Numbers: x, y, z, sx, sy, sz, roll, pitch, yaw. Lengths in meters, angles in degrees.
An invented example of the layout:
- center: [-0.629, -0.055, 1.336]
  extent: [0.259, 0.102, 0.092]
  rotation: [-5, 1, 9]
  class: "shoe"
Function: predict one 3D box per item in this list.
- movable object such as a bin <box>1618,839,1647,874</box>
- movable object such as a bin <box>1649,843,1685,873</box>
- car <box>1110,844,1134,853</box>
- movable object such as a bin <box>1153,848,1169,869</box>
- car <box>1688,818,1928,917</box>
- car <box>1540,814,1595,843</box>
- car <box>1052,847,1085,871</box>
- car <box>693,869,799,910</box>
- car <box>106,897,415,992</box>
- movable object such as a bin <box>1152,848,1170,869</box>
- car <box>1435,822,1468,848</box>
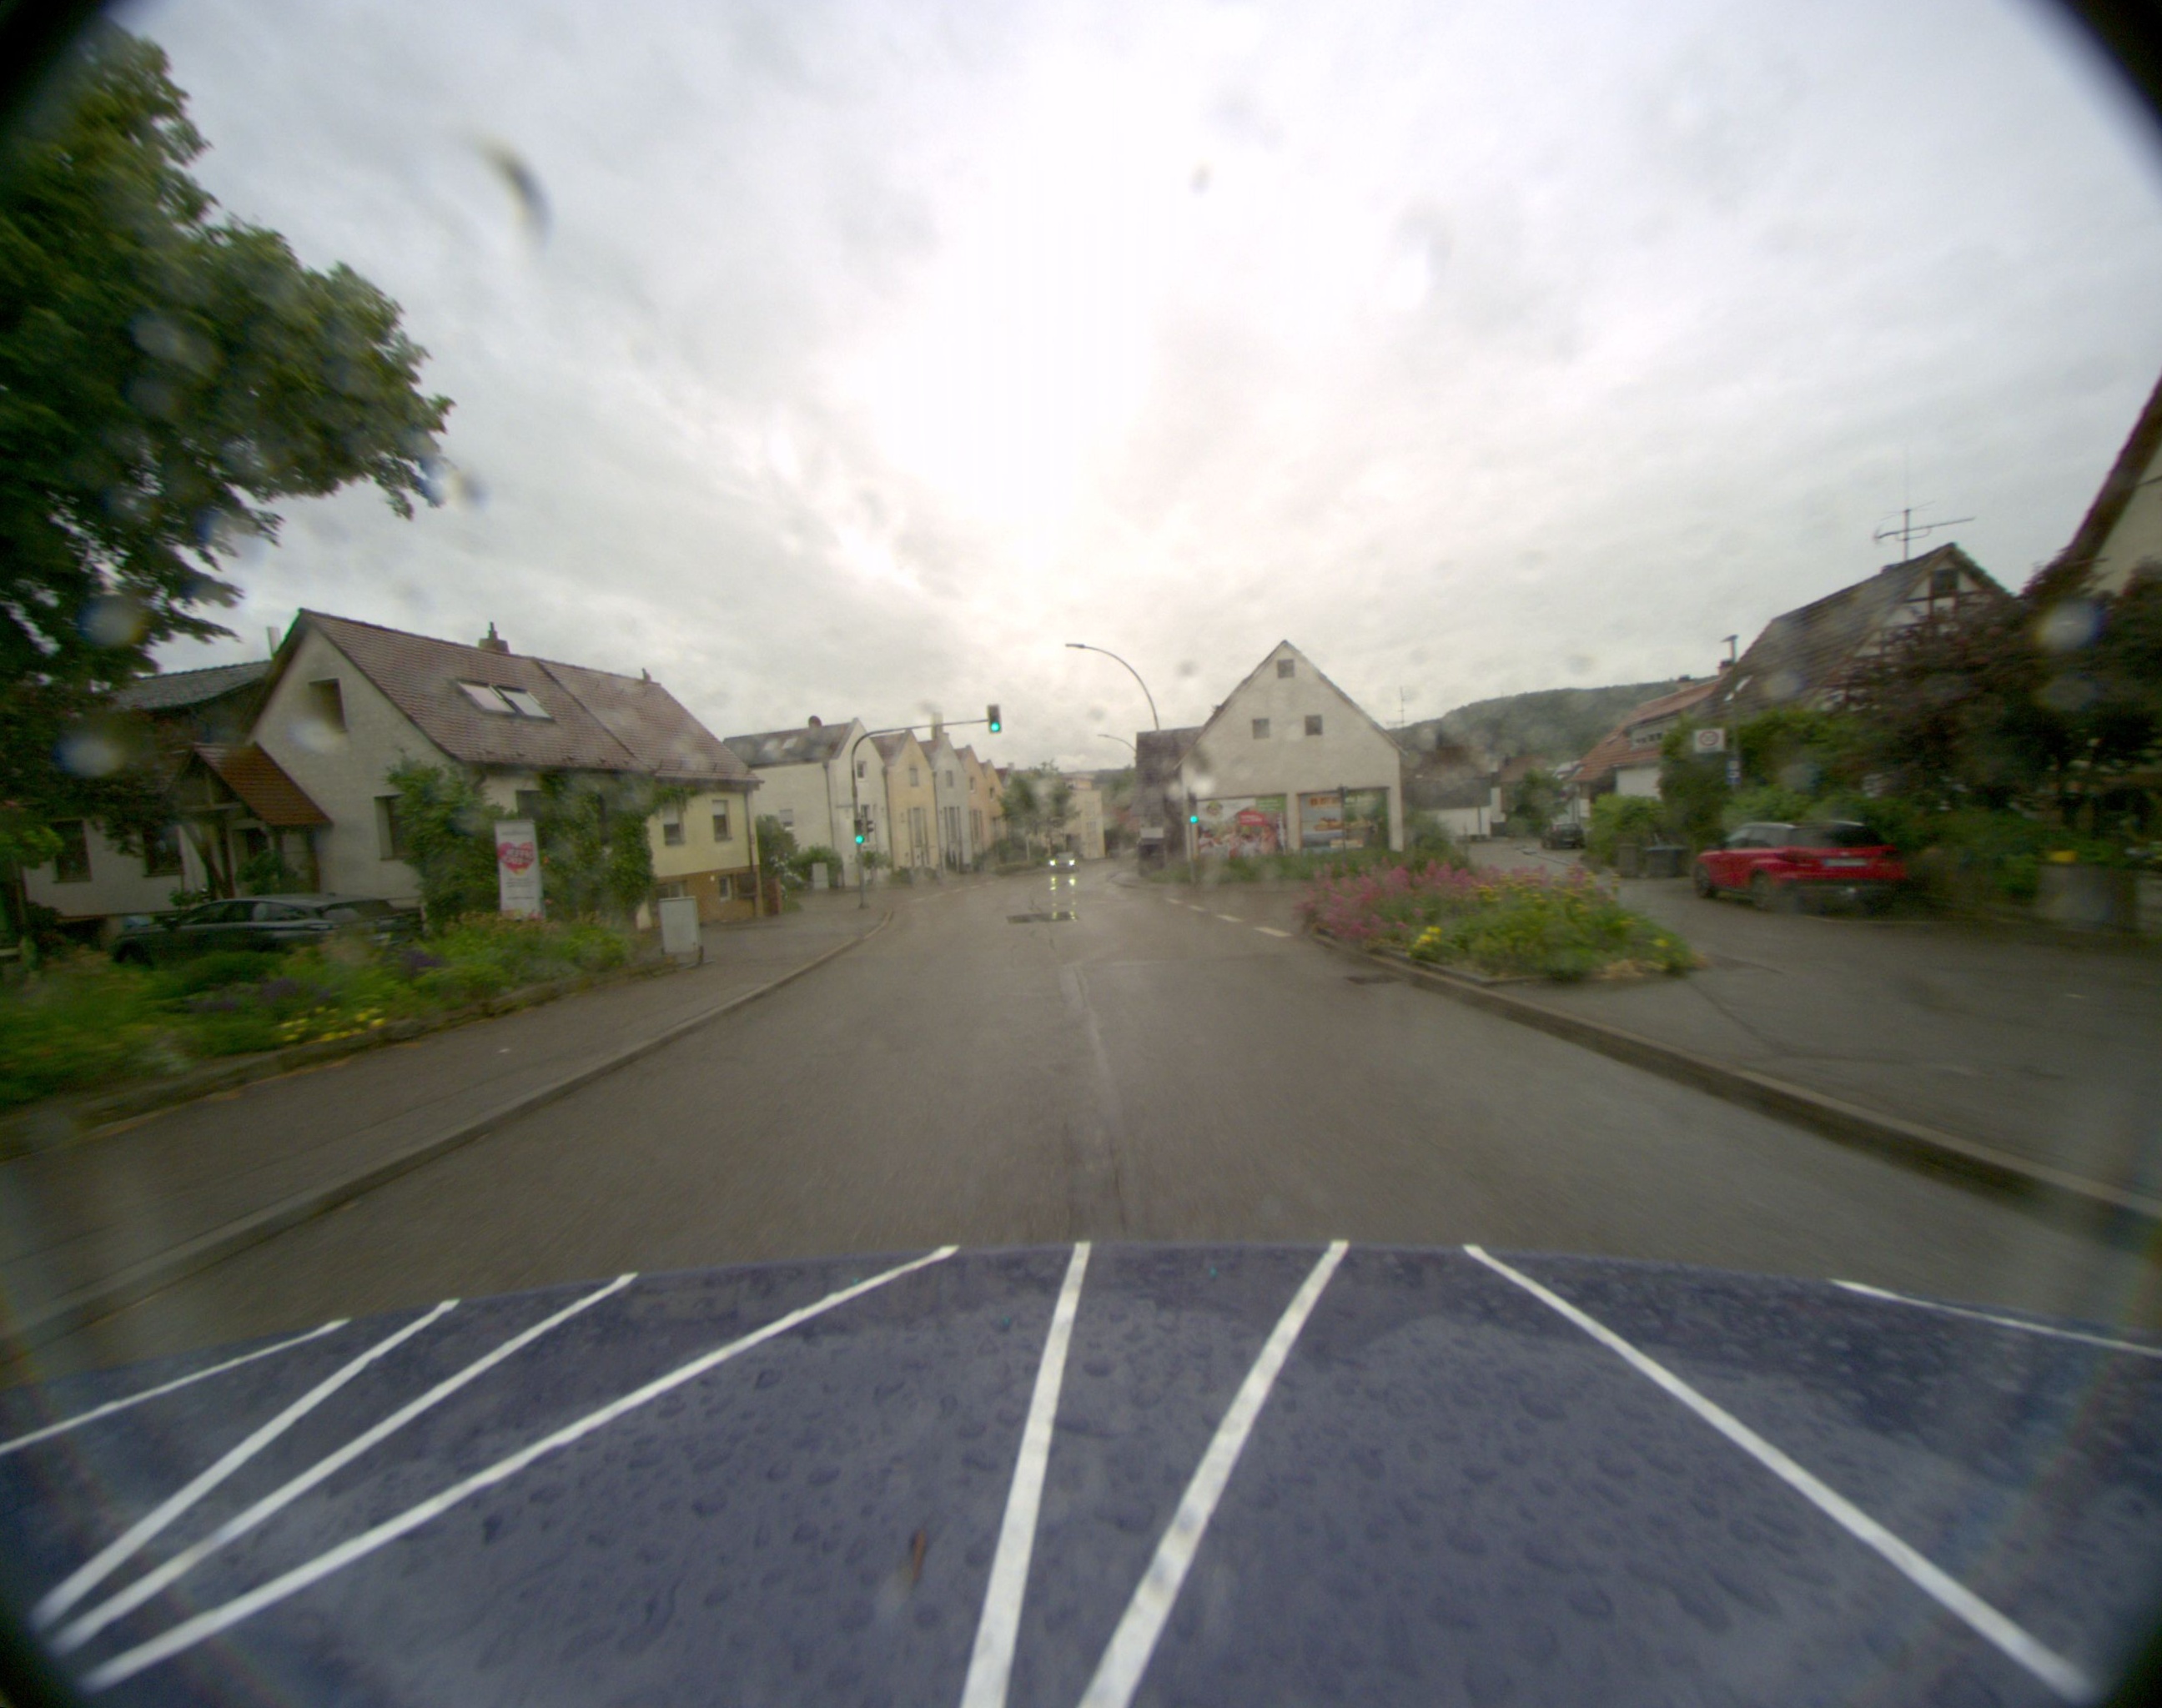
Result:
- center: [17.117, 0.068, 23.608]
  extent: [0.578, 1.040, 0.652]
  rotation: [-2, 1, 24]
  class: "movable object such as a bin"
- center: [17.893, 0.117, 23.219]
  extent: [0.702, 0.882, 0.652]
  rotation: [-3, 1, 24]
  class: "movable object such as a bin"
- center: [7.015, -0.948, 129.705]
  extent: [4.007, 1.368, 1.875]
  rotation: [-4, 2, -43]
  class: "car"
- center: [4.355, 0.232, 41.369]
  extent: [0.819, 1.055, 0.596]
  rotation: [-4, 2, 5]
  class: "movable object such as a bin"
- center: [13.361, 0.198, 14.322]
  extent: [1.751, 1.553, 4.024]
  rotation: [-2, 1, 20]
  class: "car"
- center: [27.143, -1.386, 42.514]
  extent: [1.726, 1.484, 3.974]
  rotation: [-2, 1, 20]
  class: "car"
- center: [-0.882, 0.365, 56.266]
  extent: [1.998, 1.521, 4.000]
  rotation: [-3, 2, 3]
  class: "car"
- center: [-15.061, 1.592, 34.195]
  extent: [4.136, 1.576, 1.866]
  rotation: [-3, 2, 20]
  class: "car"
- center: [-14.652, 1.597, 13.674]
  extent: [4.105, 1.451, 1.677]
  rotation: [-2, 0, 8]
  class: "car"
- center: [4.279, 0.242, 40.763]
  extent: [0.899, 1.072, 0.651]
  rotation: [-5, 2, 5]
  class: "movable object such as a bin"
- center: [22.023, -1.145, 45.261]
  extent: [1.415, 1.420, 3.496]
  rotation: [-3, 2, 21]
  class: "car"
